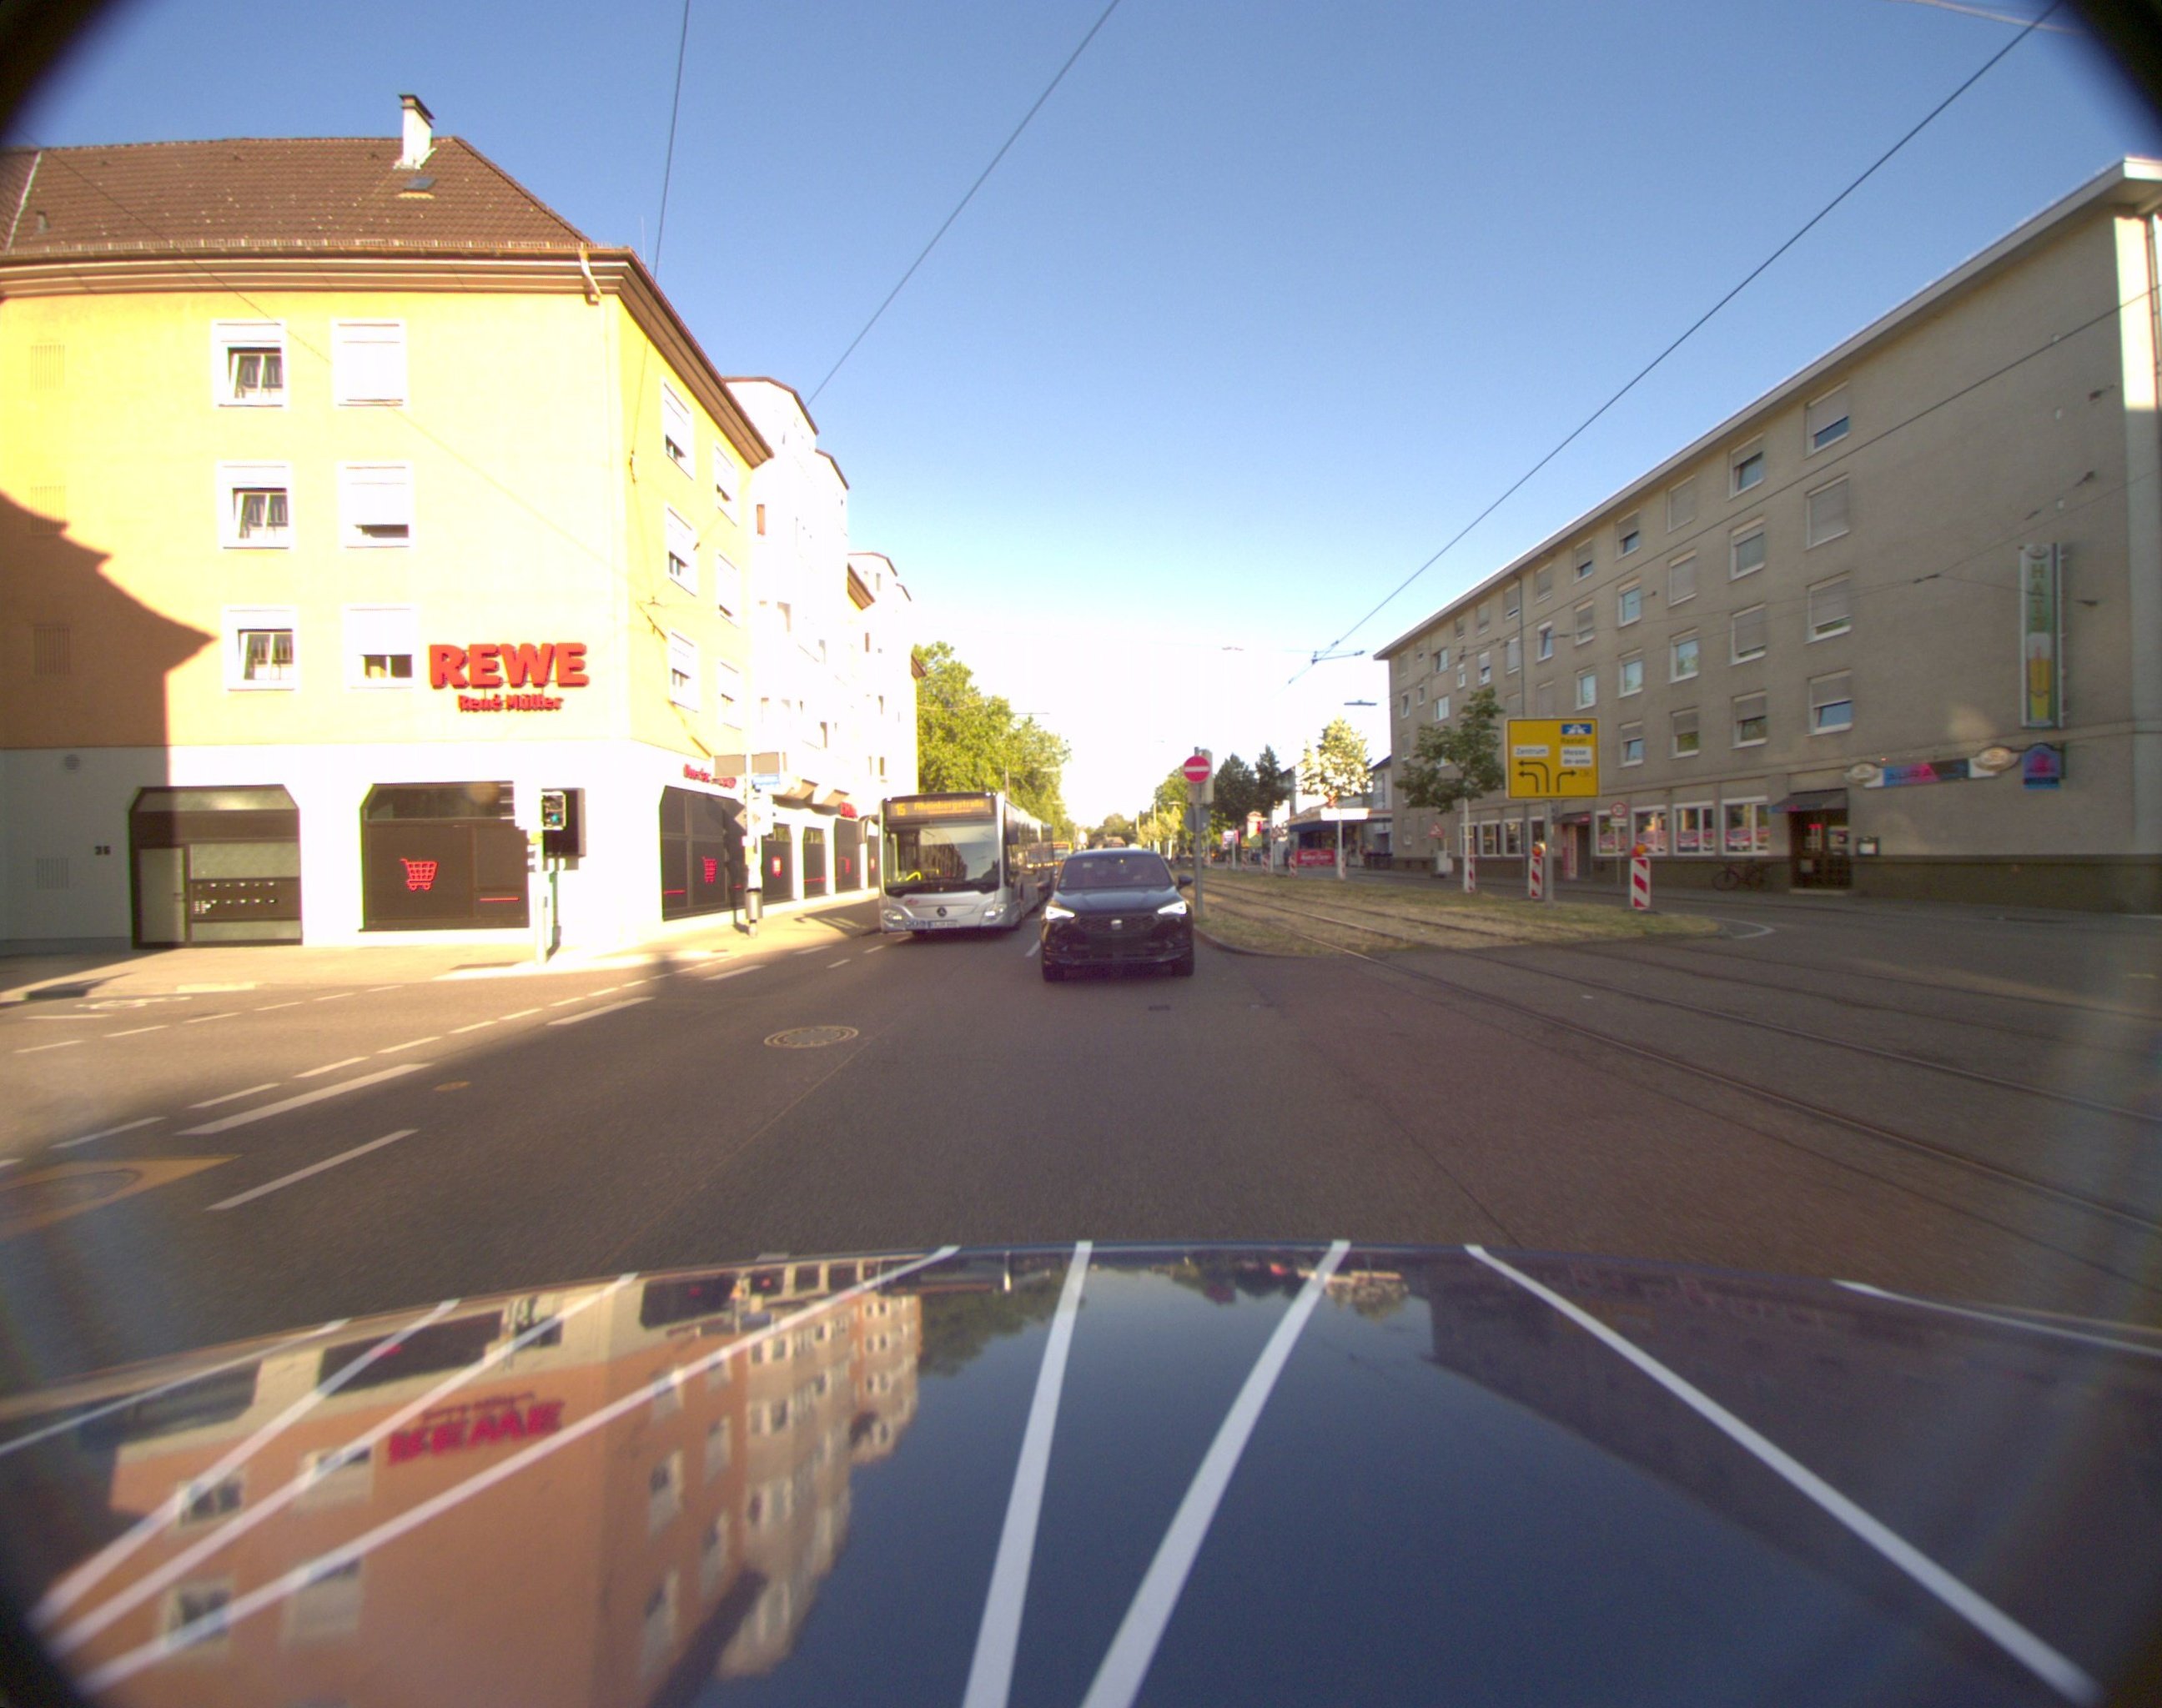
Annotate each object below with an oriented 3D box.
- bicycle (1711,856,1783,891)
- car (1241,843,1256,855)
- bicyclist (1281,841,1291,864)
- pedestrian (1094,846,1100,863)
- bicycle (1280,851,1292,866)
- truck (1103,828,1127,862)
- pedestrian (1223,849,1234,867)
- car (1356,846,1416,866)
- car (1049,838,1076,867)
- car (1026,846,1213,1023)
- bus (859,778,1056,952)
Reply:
[{"bbox_3d":[20.929,0.593,23.920,0.609,1.018,1.844,-3,1,0],"label":"bicycle"},{"bbox_3d":[24.422,-0.712,110.770,1.781,1.547,4.001,-2,1,8],"label":"car"},{"bbox_3d":[17.133,-0.145,63.466,0.653,1.872,0.809,0,1,0],"label":"bicyclist"},{"bbox_3d":[1.862,0.063,88.012,0.625,2.002,0.695,-3,1,-1],"label":"pedestrian"},{"bbox_3d":[17.151,0.383,63.506,0.456,1.250,1.871,-2,0,1],"label":"bicycle"},{"bbox_3d":[3.924,-1.045,89.914,2.306,3.798,7.722,-3,1,0],"label":"truck"},{"bbox_3d":[11.049,0.302,56.816,0.664,1.263,0.581,-3,0,1],"label":"pedestrian"},{"bbox_3d":[22.899,0.173,57.130,3.728,1.460,1.908,-1,-1,-1],"label":"car"},{"bbox_3d":[-1.957,-0.190,80.488,2.681,2.875,5.451,-3,1,-1],"label":"car"},{"bbox_3d":[0.379,0.793,9.525,1.775,1.667,4.000,-3,0,0],"label":"car"},{"bbox_3d":[-2.580,0.129,22.968,2.773,3.132,17.740,-2,0,1],"label":"bus"}]
